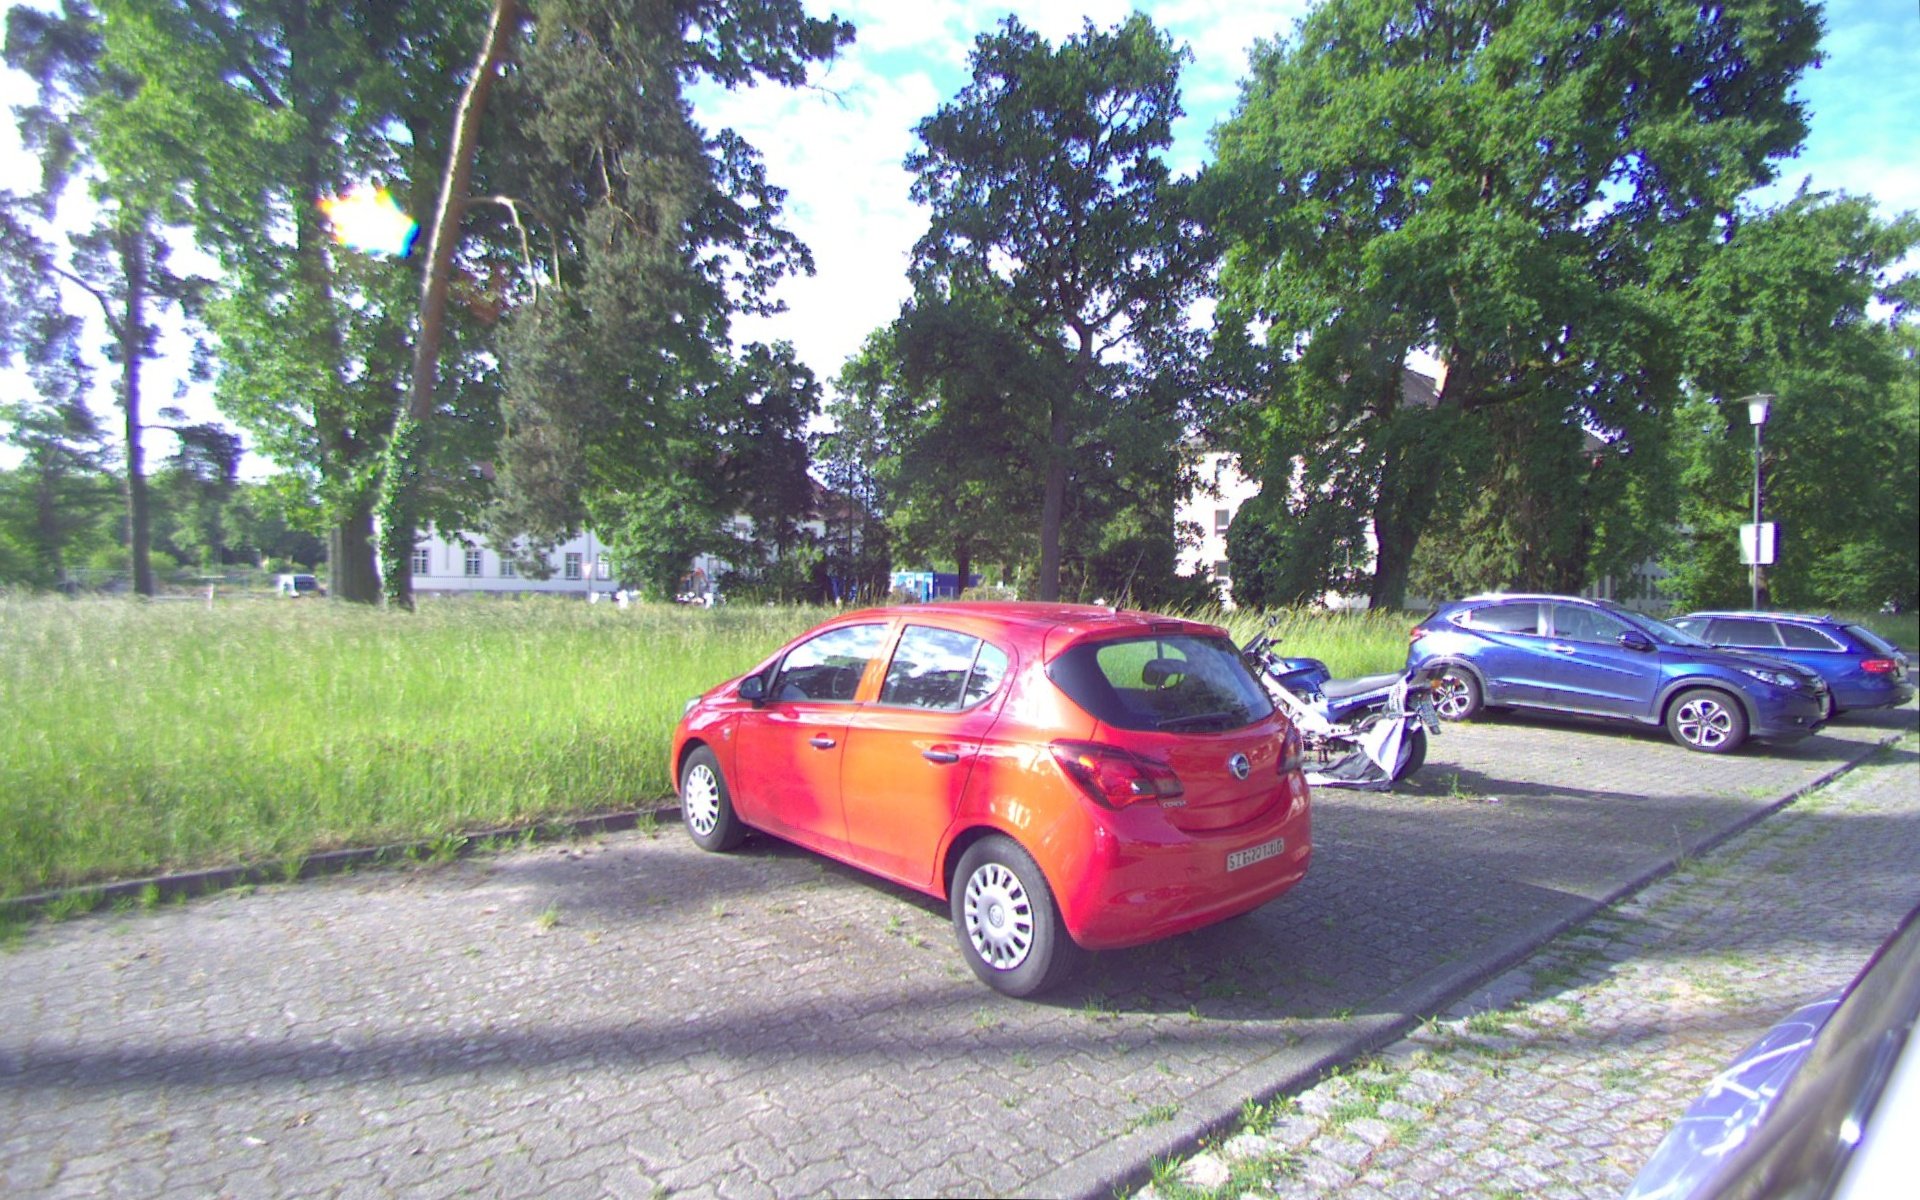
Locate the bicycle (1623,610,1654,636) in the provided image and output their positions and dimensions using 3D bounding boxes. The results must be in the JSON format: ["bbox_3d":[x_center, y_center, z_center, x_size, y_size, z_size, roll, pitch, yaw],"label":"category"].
[{"bbox_3d":[27.169,0.913,40.533,1.007,1.029,0.711,1,0,-33],"label":"bicycle"}]

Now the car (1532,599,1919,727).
[{"bbox_3d":[11.144,0.783,14.857,1.682,1.425,4.463,1,2,-37],"label":"car"}]

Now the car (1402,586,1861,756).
[{"bbox_3d":[7.639,0.660,11.865,1.721,1.611,4.184,1,0,-40],"label":"car"}]

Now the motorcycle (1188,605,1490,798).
[{"bbox_3d":[3.093,0.746,8.521,0.713,1.336,2.304,1,1,-40],"label":"motorcycle"}]

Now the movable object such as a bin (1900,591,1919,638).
[{"bbox_3d":[38.303,0.598,37.329,1.959,1.781,4.949,1,0,-26],"label":"movable object such as a bin"}]

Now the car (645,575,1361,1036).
[{"bbox_3d":[-0.105,0.652,5.368,1.616,1.497,3.835,1,1,-40],"label":"car"}]

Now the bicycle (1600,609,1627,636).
[{"bbox_3d":[26.403,0.904,40.877,1.008,1.029,0.619,1,0,-38],"label":"bicycle"}]

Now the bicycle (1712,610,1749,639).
[{"bbox_3d":[28.689,0.899,37.687,1.231,1.029,0.711,1,0,-33],"label":"bicycle"}]

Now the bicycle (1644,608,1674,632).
[{"bbox_3d":[29.989,0.849,43.422,0.700,1.029,1.023,1,0,12],"label":"bicycle"}]
